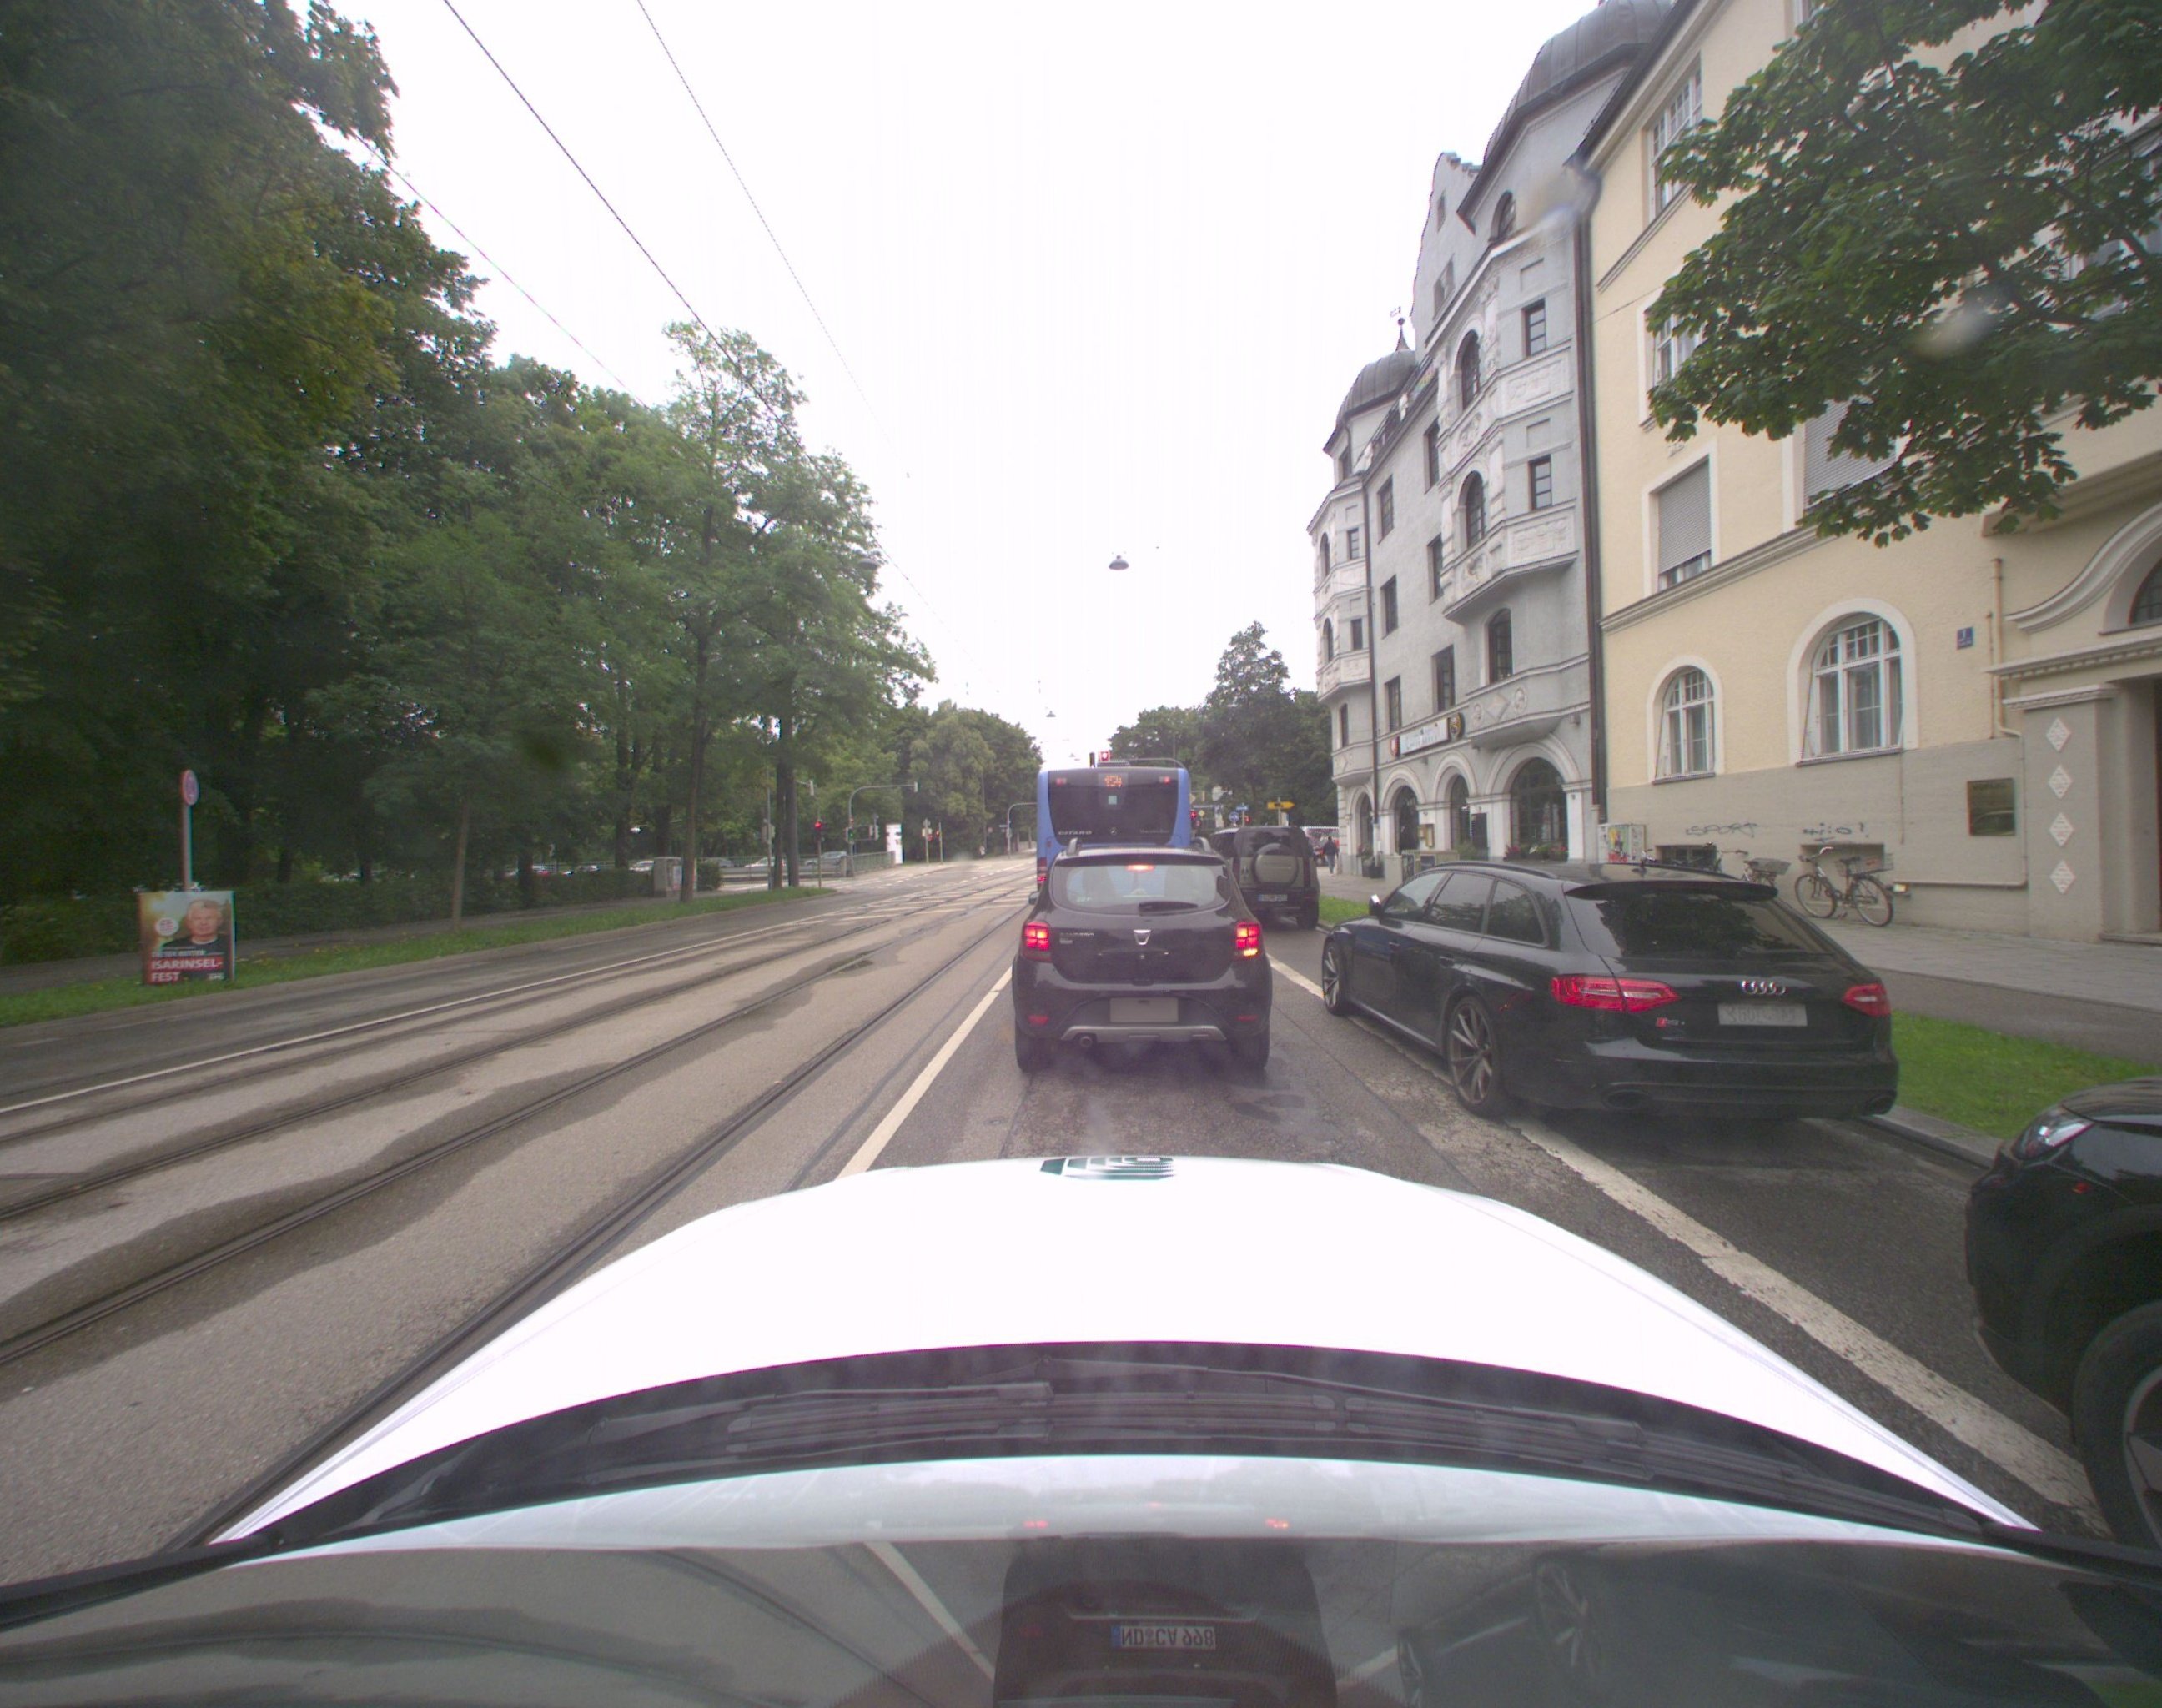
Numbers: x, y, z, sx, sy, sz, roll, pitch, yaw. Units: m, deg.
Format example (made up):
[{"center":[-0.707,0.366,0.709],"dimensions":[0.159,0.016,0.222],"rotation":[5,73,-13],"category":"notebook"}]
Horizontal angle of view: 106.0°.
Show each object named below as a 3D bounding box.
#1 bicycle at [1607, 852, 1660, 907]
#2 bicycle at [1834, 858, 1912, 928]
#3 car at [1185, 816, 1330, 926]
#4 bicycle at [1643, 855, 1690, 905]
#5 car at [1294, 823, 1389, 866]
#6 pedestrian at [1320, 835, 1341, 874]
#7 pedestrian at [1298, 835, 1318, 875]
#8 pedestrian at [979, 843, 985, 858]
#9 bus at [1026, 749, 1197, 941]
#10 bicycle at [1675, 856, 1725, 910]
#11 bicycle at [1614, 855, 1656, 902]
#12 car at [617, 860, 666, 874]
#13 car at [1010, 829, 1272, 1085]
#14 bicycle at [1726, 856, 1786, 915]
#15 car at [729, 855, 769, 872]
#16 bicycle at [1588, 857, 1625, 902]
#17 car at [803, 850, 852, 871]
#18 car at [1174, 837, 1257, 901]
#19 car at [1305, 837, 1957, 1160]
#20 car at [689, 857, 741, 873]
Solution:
[{"center":[10.812,0.482,15.970],"dimensions":[0.241,1.039,1.224],"rotation":[0,0,2],"category":"bicycle"},{"center":[10.988,0.517,11.320],"dimensions":[0.220,0.930,0.886],"rotation":[0,0,1],"category":"bicycle"},{"center":[3.372,0.294,16.547],"dimensions":[1.908,1.905,4.807],"rotation":[0,0,0],"category":"car"},{"center":[11.190,0.486,15.590],"dimensions":[0.304,0.930,0.886],"rotation":[0,0,4],"category":"bicycle"},{"center":[16.302,-0.601,51.226],"dimensions":[5.281,2.612,2.229],"rotation":[0,0,-2],"category":"car"},{"center":[11.161,0.032,36.423],"dimensions":[0.702,1.732,0.843],"rotation":[0,0,2],"category":"pedestrian"},{"center":[10.266,0.037,36.904],"dimensions":[0.702,1.816,0.870],"rotation":[0,0,2],"category":"pedestrian"},{"center":[-10.319,-0.347,84.753],"dimensions":[0.529,1.501,0.589],"rotation":[0,0,6],"category":"pedestrian"},{"center":[0.485,-0.141,16.192],"dimensions":[2.670,2.997,6.960],"rotation":[0,0,0],"category":"bus"},{"center":[11.099,0.502,14.622],"dimensions":[0.271,0.930,0.886],"rotation":[0,0,3],"category":"bicycle"},{"center":[11.254,0.483,16.550],"dimensions":[0.289,0.930,0.886],"rotation":[0,0,3],"category":"bicycle"},{"center":[-39.429,1.159,73.119],"dimensions":[3.720,1.185,1.249],"rotation":[0,0,-4],"category":"car"},{"center":[0.405,0.625,6.724],"dimensions":[1.595,1.556,3.526],"rotation":[0,0,1],"category":"car"},{"center":[10.998,0.503,13.287],"dimensions":[0.284,0.930,0.886],"rotation":[0,0,3],"category":"bicycle"},{"center":[-29.855,0.853,73.341],"dimensions":[3.103,1.452,1.249],"rotation":[0,0,-4],"category":"car"},{"center":[11.282,0.536,17.487],"dimensions":[0.258,0.930,0.886],"rotation":[0,0,3],"category":"bicycle"},{"center":[-22.983,0.552,73.991],"dimensions":[4.015,1.887,1.488],"rotation":[0,0,-5],"category":"car"},{"center":[3.578,0.364,22.288],"dimensions":[1.708,1.591,4.329],"rotation":[0,0,2],"category":"car"},{"center":[3.057,0.635,5.895],"dimensions":[1.709,1.426,4.603],"rotation":[0,0,1],"category":"car"},{"center":[-32.978,1.016,73.394],"dimensions":[3.915,1.404,1.719],"rotation":[0,0,-3],"category":"car"}]
